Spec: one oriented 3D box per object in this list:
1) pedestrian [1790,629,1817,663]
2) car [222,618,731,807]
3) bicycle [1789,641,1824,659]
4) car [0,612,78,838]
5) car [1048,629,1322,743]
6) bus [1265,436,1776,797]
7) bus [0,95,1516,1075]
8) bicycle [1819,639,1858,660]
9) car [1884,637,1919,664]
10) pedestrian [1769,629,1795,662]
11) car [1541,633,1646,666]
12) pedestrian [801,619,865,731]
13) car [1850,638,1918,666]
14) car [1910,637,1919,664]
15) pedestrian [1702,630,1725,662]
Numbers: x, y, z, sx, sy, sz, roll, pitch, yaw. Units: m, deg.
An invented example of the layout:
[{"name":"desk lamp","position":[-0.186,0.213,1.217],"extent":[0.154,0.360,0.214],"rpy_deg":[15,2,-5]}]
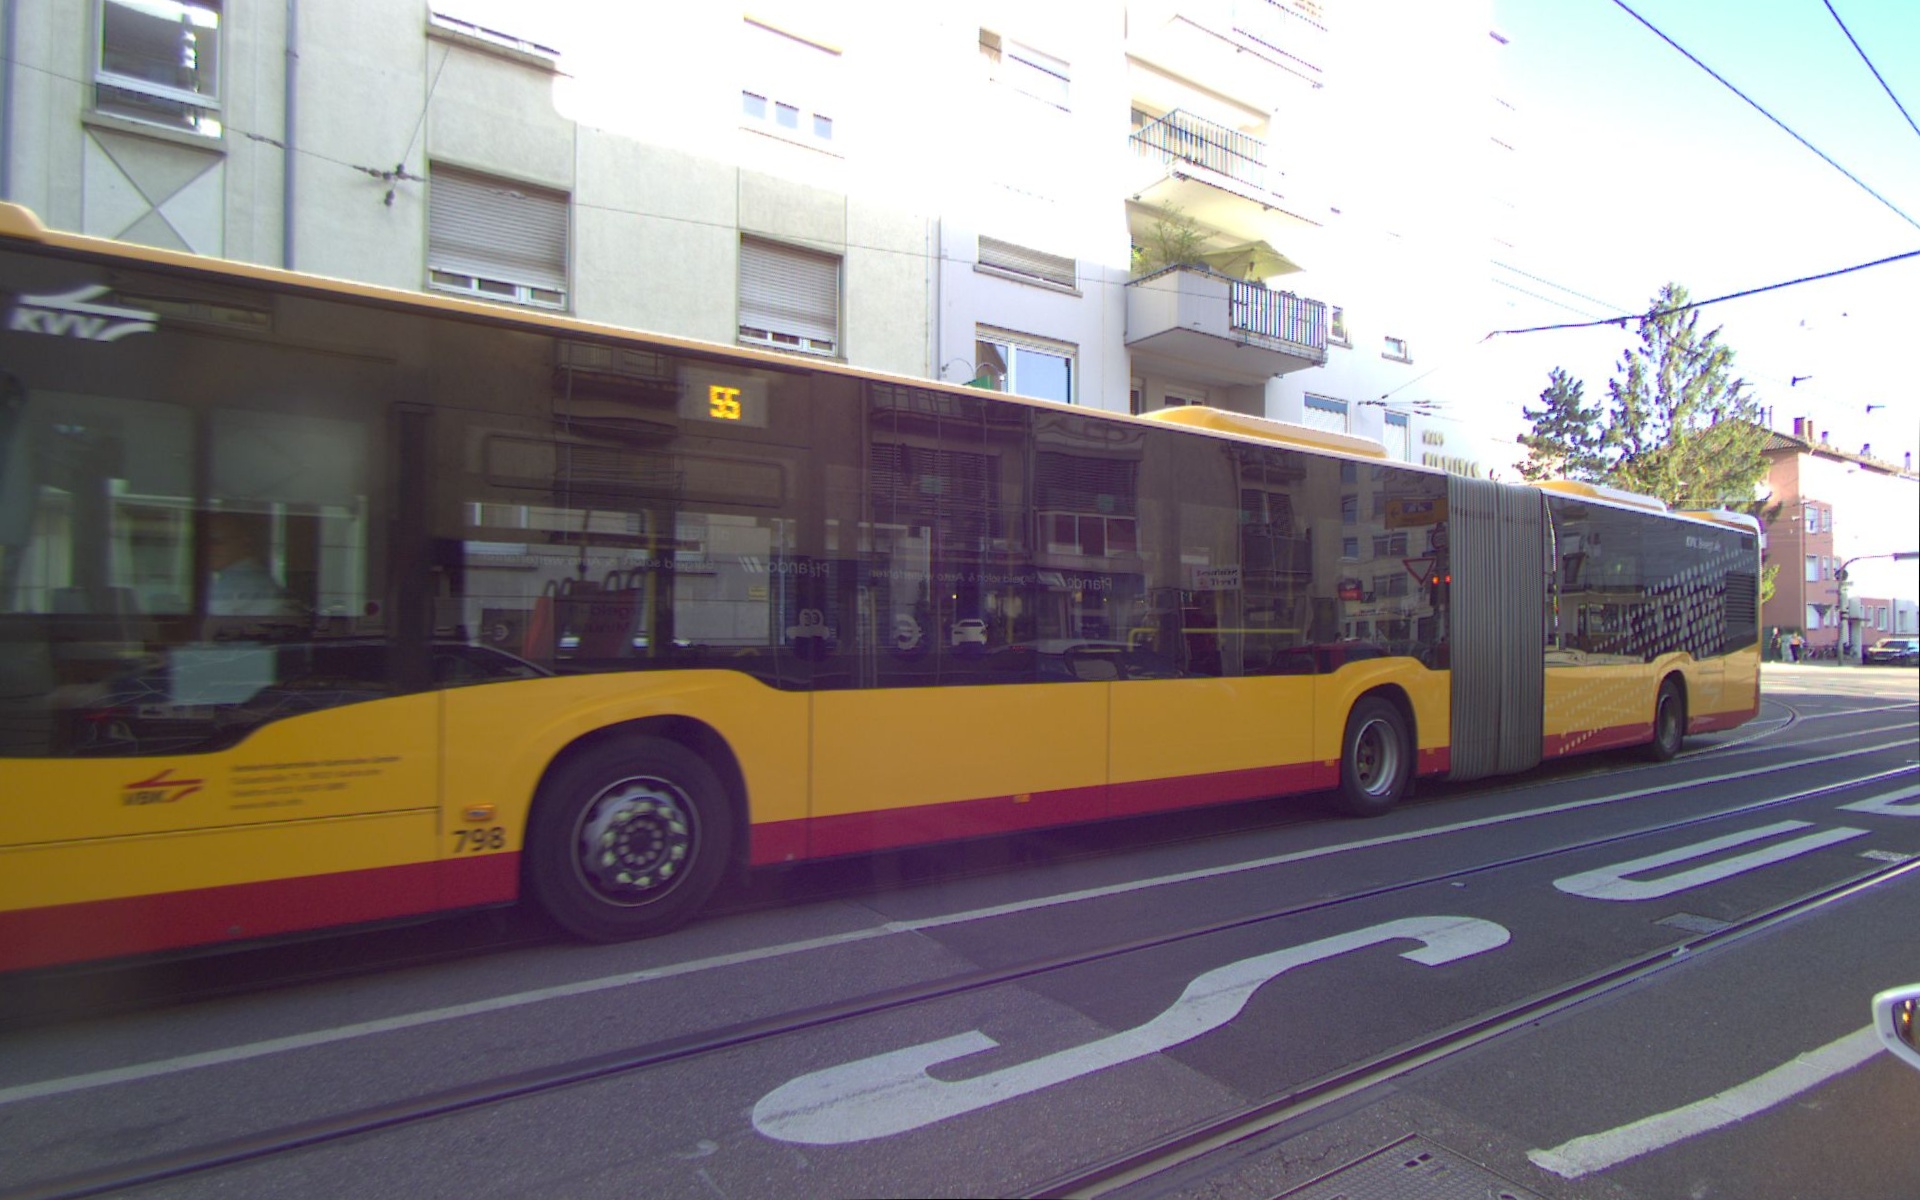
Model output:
[{"name":"pedestrian","position":[43.167,2.338,51.416],"extent":[0.728,1.713,0.841],"rpy_deg":[1,-1,-27]},{"name":"car","position":[-4.720,1.008,10.207],"extent":[4.340,1.529,1.689],"rpy_deg":[2,-1,-34]},{"name":"bicycle","position":[47.098,2.787,55.872],"extent":[2.568,0.964,0.729],"rpy_deg":[1,-2,-32]},{"name":"car","position":[-9.121,0.882,7.046],"extent":[4.202,1.637,1.688],"rpy_deg":[2,-1,-36]},{"name":"car","position":[3.602,1.278,15.807],"extent":[4.266,1.529,1.689],"rpy_deg":[2,-1,-33]},{"name":"bus","position":[7.160,0.248,12.303],"extent":[7.509,3.203,2.718],"rpy_deg":[1,-2,-37]},{"name":"bus","position":[0.045,0.069,7.160],"extent":[10.093,3.200,2.705],"rpy_deg":[1,-2,-35]},{"name":"bicycle","position":[51.918,2.911,59.349],"extent":[3.267,1.241,0.844],"rpy_deg":[1,-2,-32]},{"name":"car","position":[54.251,2.837,56.941],"extent":[3.959,1.517,1.899],"rpy_deg":[1,-2,-34]},{"name":"pedestrian","position":[42.652,2.341,52.134],"extent":[0.728,1.713,0.841],"rpy_deg":[1,-1,-27]},{"name":"car","position":[31.845,2.470,50.552],"extent":[4.332,1.594,1.849],"rpy_deg":[-1,-2,38]},{"name":"pedestrian","position":[-1.849,1.063,14.592],"extent":[0.713,1.569,0.694],"rpy_deg":[0,-1,-30]},{"name":"car","position":[49.515,2.770,53.815],"extent":[3.961,1.452,1.898],"rpy_deg":[1,-2,-36]},{"name":"car","position":[58.080,2.981,59.453],"extent":[3.959,1.517,1.899],"rpy_deg":[1,-2,-34]},{"name":"pedestrian","position":[38.769,2.347,51.709],"extent":[0.835,1.647,0.515],"rpy_deg":[0,-1,26]}]
